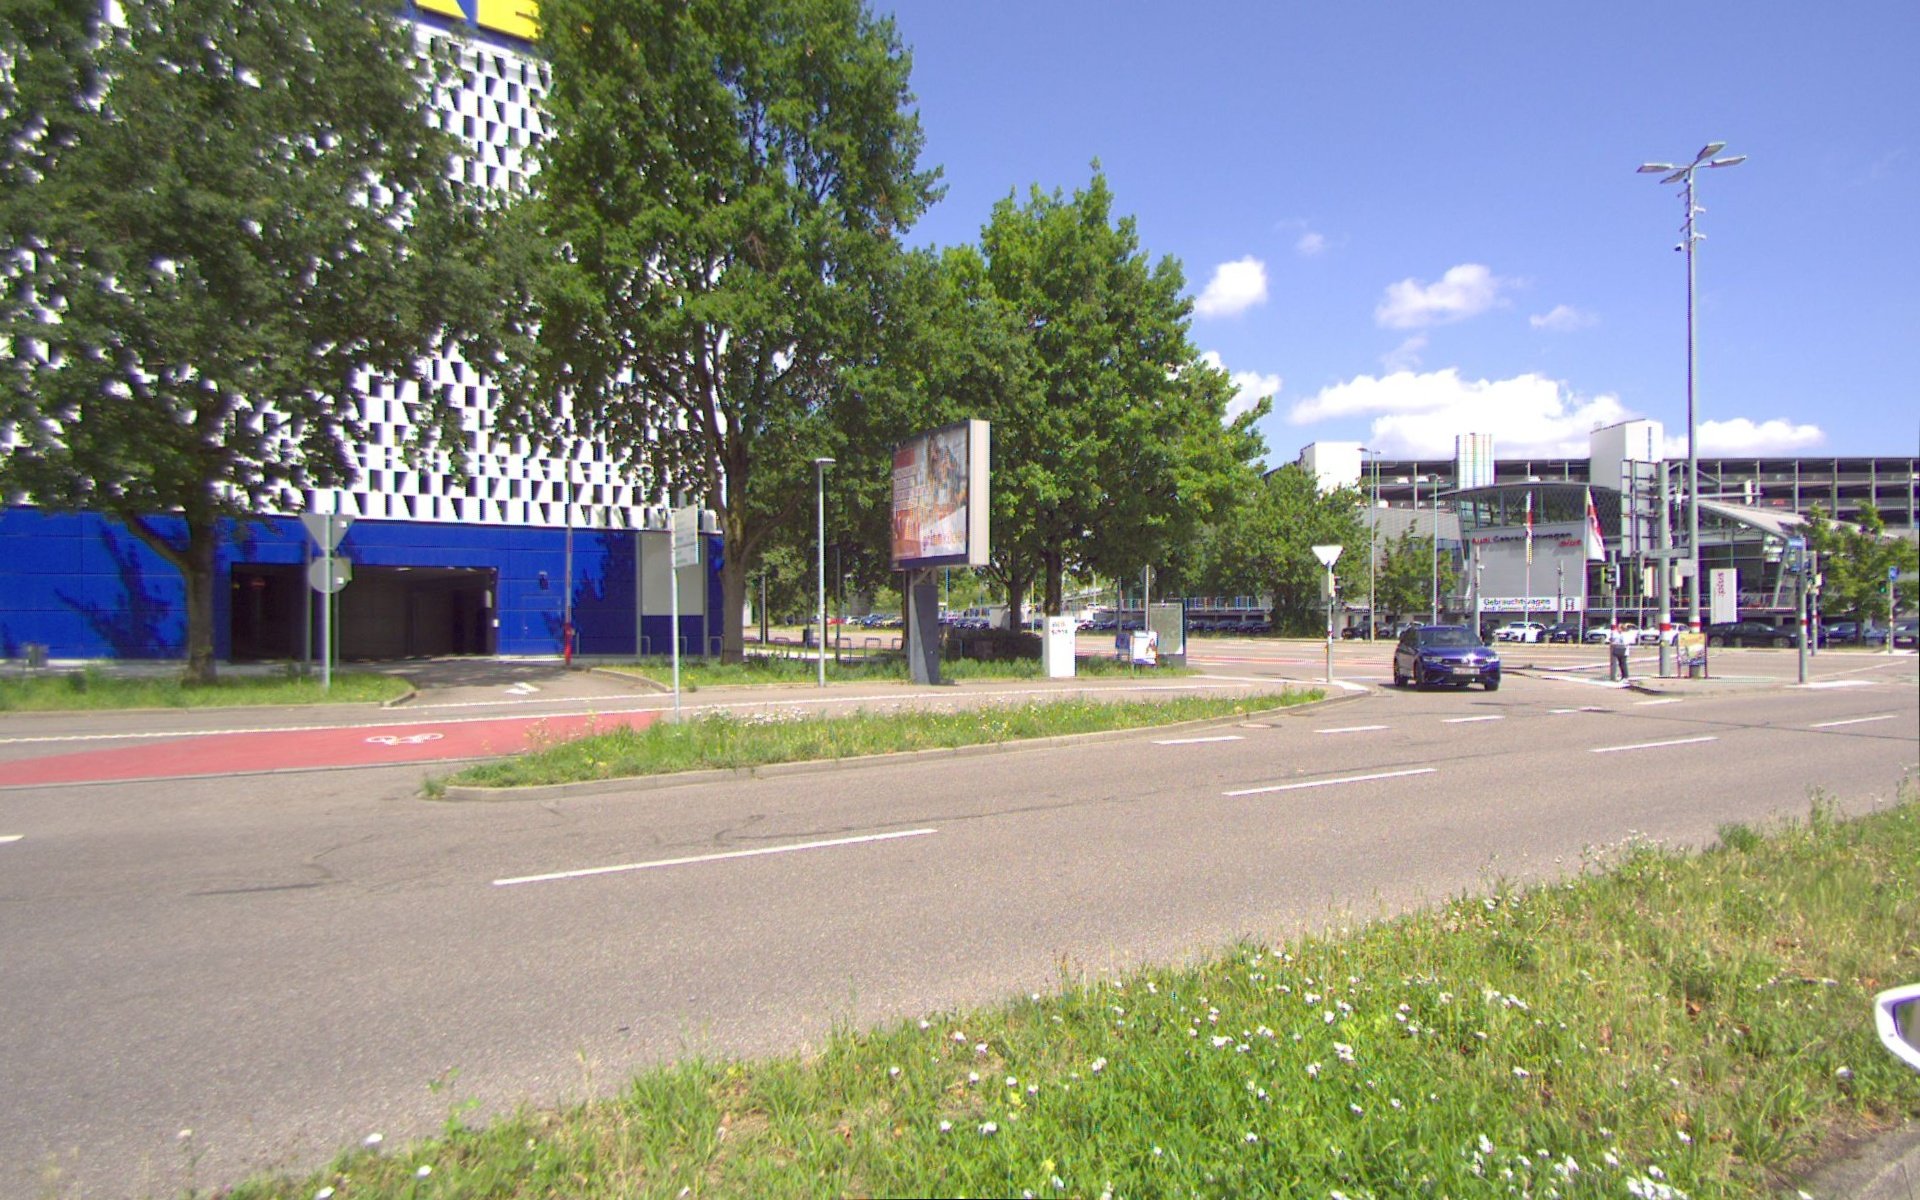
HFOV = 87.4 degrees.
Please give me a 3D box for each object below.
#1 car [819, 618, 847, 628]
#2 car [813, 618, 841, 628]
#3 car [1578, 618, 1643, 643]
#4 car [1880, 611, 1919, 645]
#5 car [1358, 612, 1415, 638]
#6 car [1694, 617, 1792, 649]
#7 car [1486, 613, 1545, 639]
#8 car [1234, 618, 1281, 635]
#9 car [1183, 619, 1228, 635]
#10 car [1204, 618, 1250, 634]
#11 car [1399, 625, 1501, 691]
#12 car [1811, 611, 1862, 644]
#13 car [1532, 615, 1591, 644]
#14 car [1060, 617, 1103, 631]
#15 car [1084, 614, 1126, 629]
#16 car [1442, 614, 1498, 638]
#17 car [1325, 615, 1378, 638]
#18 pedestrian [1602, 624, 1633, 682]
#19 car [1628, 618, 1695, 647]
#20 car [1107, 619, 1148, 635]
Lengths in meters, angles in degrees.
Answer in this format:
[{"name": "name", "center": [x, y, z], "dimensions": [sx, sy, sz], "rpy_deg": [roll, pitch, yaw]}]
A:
[{"name": "car", "center": [-18.145, 3.296, 143.647], "dimensions": [3.687, 1.409, 1.689], "rpy_deg": [1, 0, -30]}, {"name": "car", "center": [-19.325, 3.279, 145.863], "dimensions": [3.687, 1.409, 1.689], "rpy_deg": [1, 0, -30]}, {"name": "car", "center": [37.966, 1.754, 58.586], "dimensions": [3.713, 1.394, 1.895], "rpy_deg": [0, 0, -34]}, {"name": "car", "center": [45.078, 1.315, 47.889], "dimensions": [1.797, 1.572, 3.977], "rpy_deg": [1, 0, 43]}, {"name": "car", "center": [28.957, 1.665, 68.176], "dimensions": [3.754, 1.686, 1.804], "rpy_deg": [1, 0, -34]}, {"name": "car", "center": [41.168, 1.707, 52.857], "dimensions": [1.662, 1.533, 3.768], "rpy_deg": [0, 0, -35]}, {"name": "car", "center": [34.888, 1.613, 63.063], "dimensions": [3.664, 1.506, 1.867], "rpy_deg": [0, 0, -35]}, {"name": "car", "center": [23.086, 2.060, 77.856], "dimensions": [3.463, 1.207, 1.583], "rpy_deg": [1, 0, -30]}, {"name": "car", "center": [20.150, 2.214, 82.521], "dimensions": [3.463, 1.207, 1.583], "rpy_deg": [1, 0, -30]}, {"name": "car", "center": [21.271, 2.076, 80.011], "dimensions": [3.463, 1.207, 1.583], "rpy_deg": [1, 0, -30]}, {"name": "car", "center": [12.441, 1.483, 25.749], "dimensions": [1.961, 1.529, 4.000], "rpy_deg": [-3, -4, 21]}, {"name": "car", "center": [43.795, 1.359, 50.146], "dimensions": [1.797, 1.572, 3.977], "rpy_deg": [1, 0, 43]}, {"name": "car", "center": [36.302, 1.748, 60.642], "dimensions": [3.579, 1.682, 1.746], "rpy_deg": [0, 0, -35]}, {"name": "car", "center": [12.047, 2.375, 99.410], "dimensions": [3.953, 1.271, 1.789], "rpy_deg": [0, 0, -30]}, {"name": "car", "center": [13.664, 2.032, 94.696], "dimensions": [3.687, 1.409, 1.689], "rpy_deg": [1, 0, -30]}, {"name": "car", "center": [33.175, 1.658, 65.329], "dimensions": [3.662, 1.506, 1.717], "rpy_deg": [0, 0, -34]}, {"name": "car", "center": [27.731, 1.877, 71.199], "dimensions": [3.664, 1.508, 1.825], "rpy_deg": [0, 0, -35]}, {"name": "pedestrian", "center": [17.723, 1.412, 27.063], "dimensions": [0.502, 1.532, 0.470], "rpy_deg": [1, 0, -5]}, {"name": "car", "center": [39.425, 1.801, 56.436], "dimensions": [3.987, 1.469, 1.765], "rpy_deg": [0, 0, -34]}, {"name": "car", "center": [15.162, 2.405, 90.744], "dimensions": [3.463, 1.409, 1.583], "rpy_deg": [1, 0, -30]}]
